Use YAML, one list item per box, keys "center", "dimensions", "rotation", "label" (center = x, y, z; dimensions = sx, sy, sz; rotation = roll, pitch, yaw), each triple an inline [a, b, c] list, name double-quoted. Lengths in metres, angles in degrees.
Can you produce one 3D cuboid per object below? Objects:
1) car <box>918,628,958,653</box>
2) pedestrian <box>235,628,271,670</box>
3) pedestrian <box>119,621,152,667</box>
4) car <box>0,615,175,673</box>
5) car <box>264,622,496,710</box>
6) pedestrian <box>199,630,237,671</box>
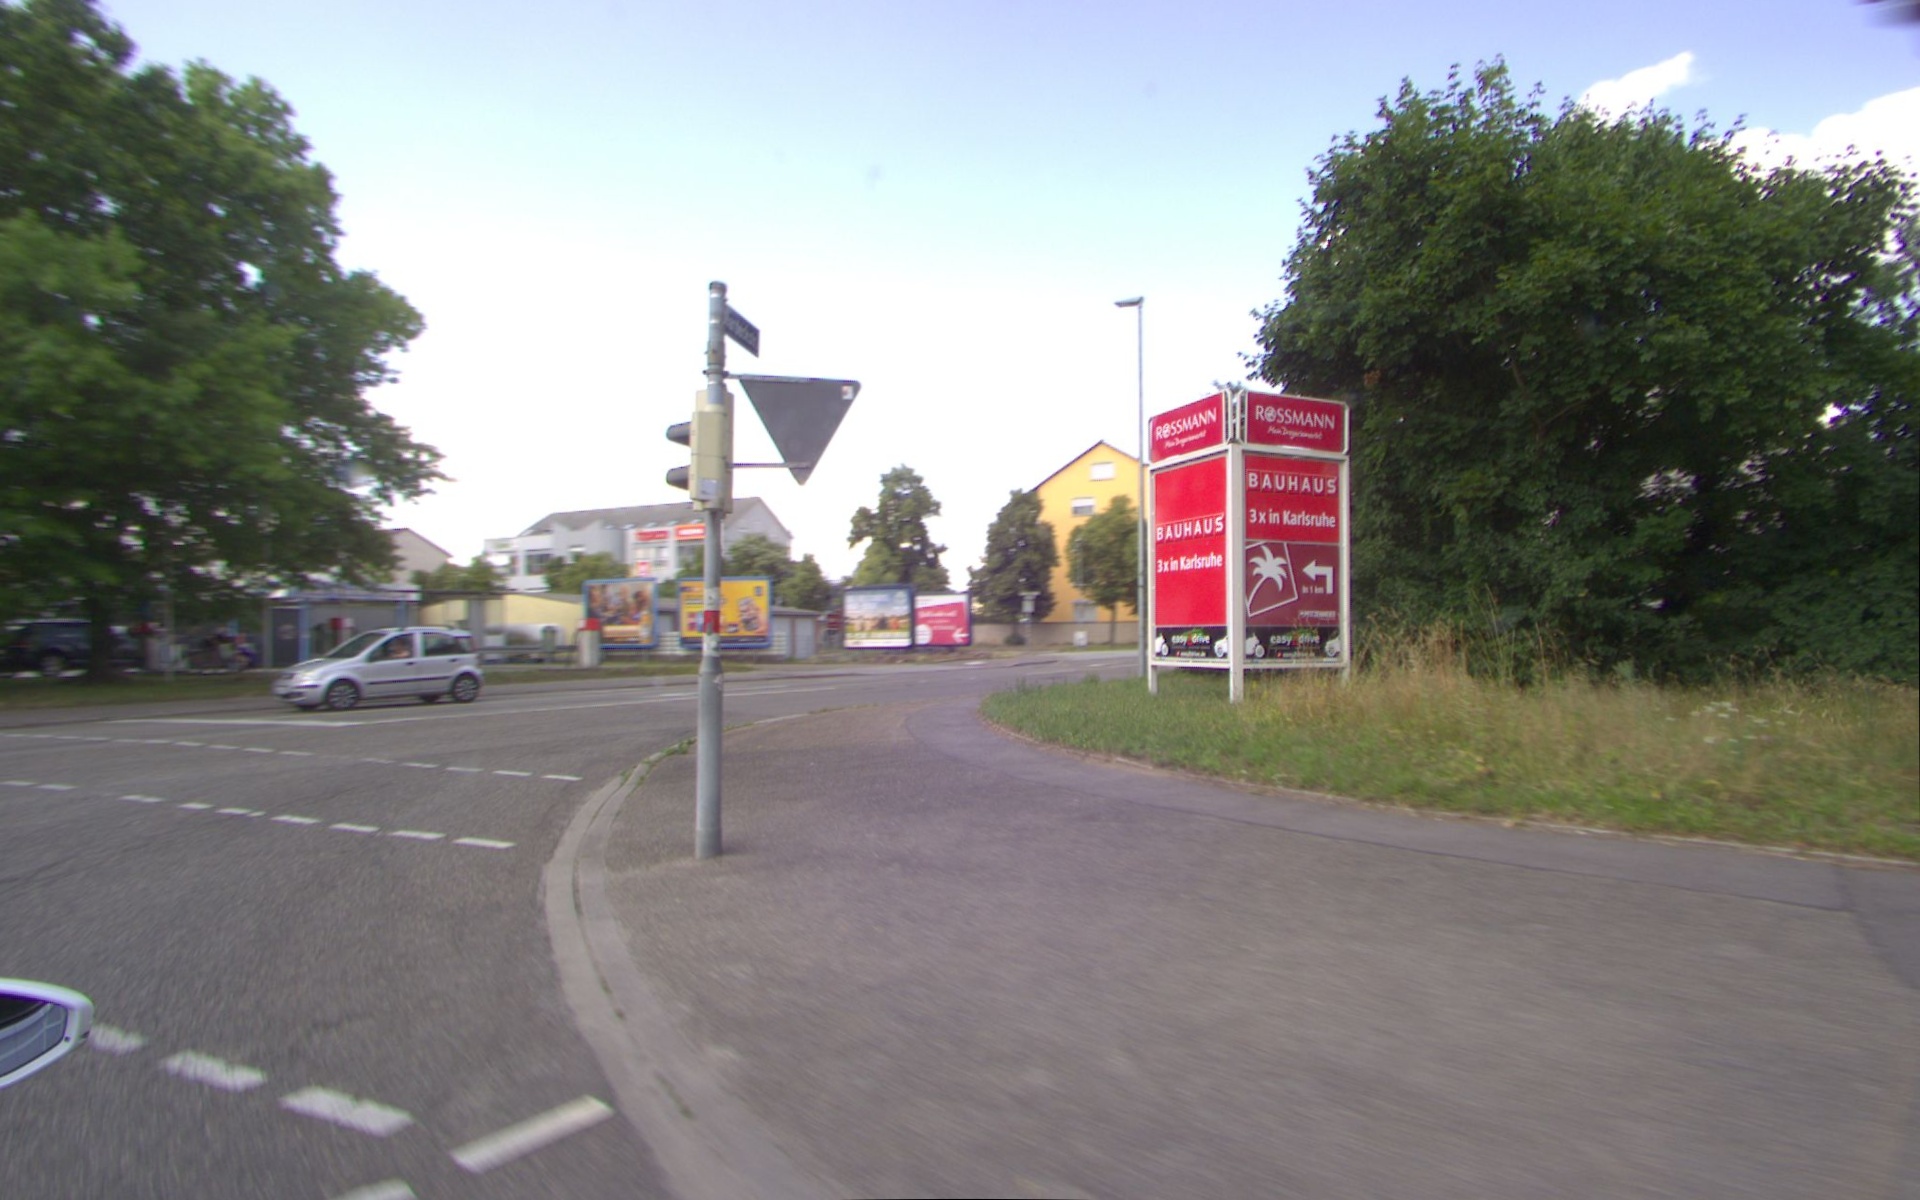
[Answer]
- center: [-1.512, 2.814, 70.277]
  dimensions: [1.622, 1.558, 3.894]
  rotation: [-2, 0, 17]
  label: "car"
- center: [-21.832, 1.511, 30.949]
  dimensions: [0.753, 1.271, 0.644]
  rotation: [1, -3, -22]
  label: "pedestrian"
- center: [-27.442, 1.468, 33.339]
  dimensions: [0.609, 1.513, 0.562]
  rotation: [-1, -3, 15]
  label: "pedestrian"
- center: [-27.025, 1.322, 30.536]
  dimensions: [2.113, 1.616, 4.563]
  rotation: [-1, -2, 11]
  label: "car"
- center: [-11.105, 1.211, 19.382]
  dimensions: [1.538, 1.536, 3.588]
  rotation: [-1, -2, 34]
  label: "car"
- center: [-22.649, 1.548, 30.587]
  dimensions: [0.753, 1.204, 0.644]
  rotation: [1, -3, -22]
  label: "pedestrian"
